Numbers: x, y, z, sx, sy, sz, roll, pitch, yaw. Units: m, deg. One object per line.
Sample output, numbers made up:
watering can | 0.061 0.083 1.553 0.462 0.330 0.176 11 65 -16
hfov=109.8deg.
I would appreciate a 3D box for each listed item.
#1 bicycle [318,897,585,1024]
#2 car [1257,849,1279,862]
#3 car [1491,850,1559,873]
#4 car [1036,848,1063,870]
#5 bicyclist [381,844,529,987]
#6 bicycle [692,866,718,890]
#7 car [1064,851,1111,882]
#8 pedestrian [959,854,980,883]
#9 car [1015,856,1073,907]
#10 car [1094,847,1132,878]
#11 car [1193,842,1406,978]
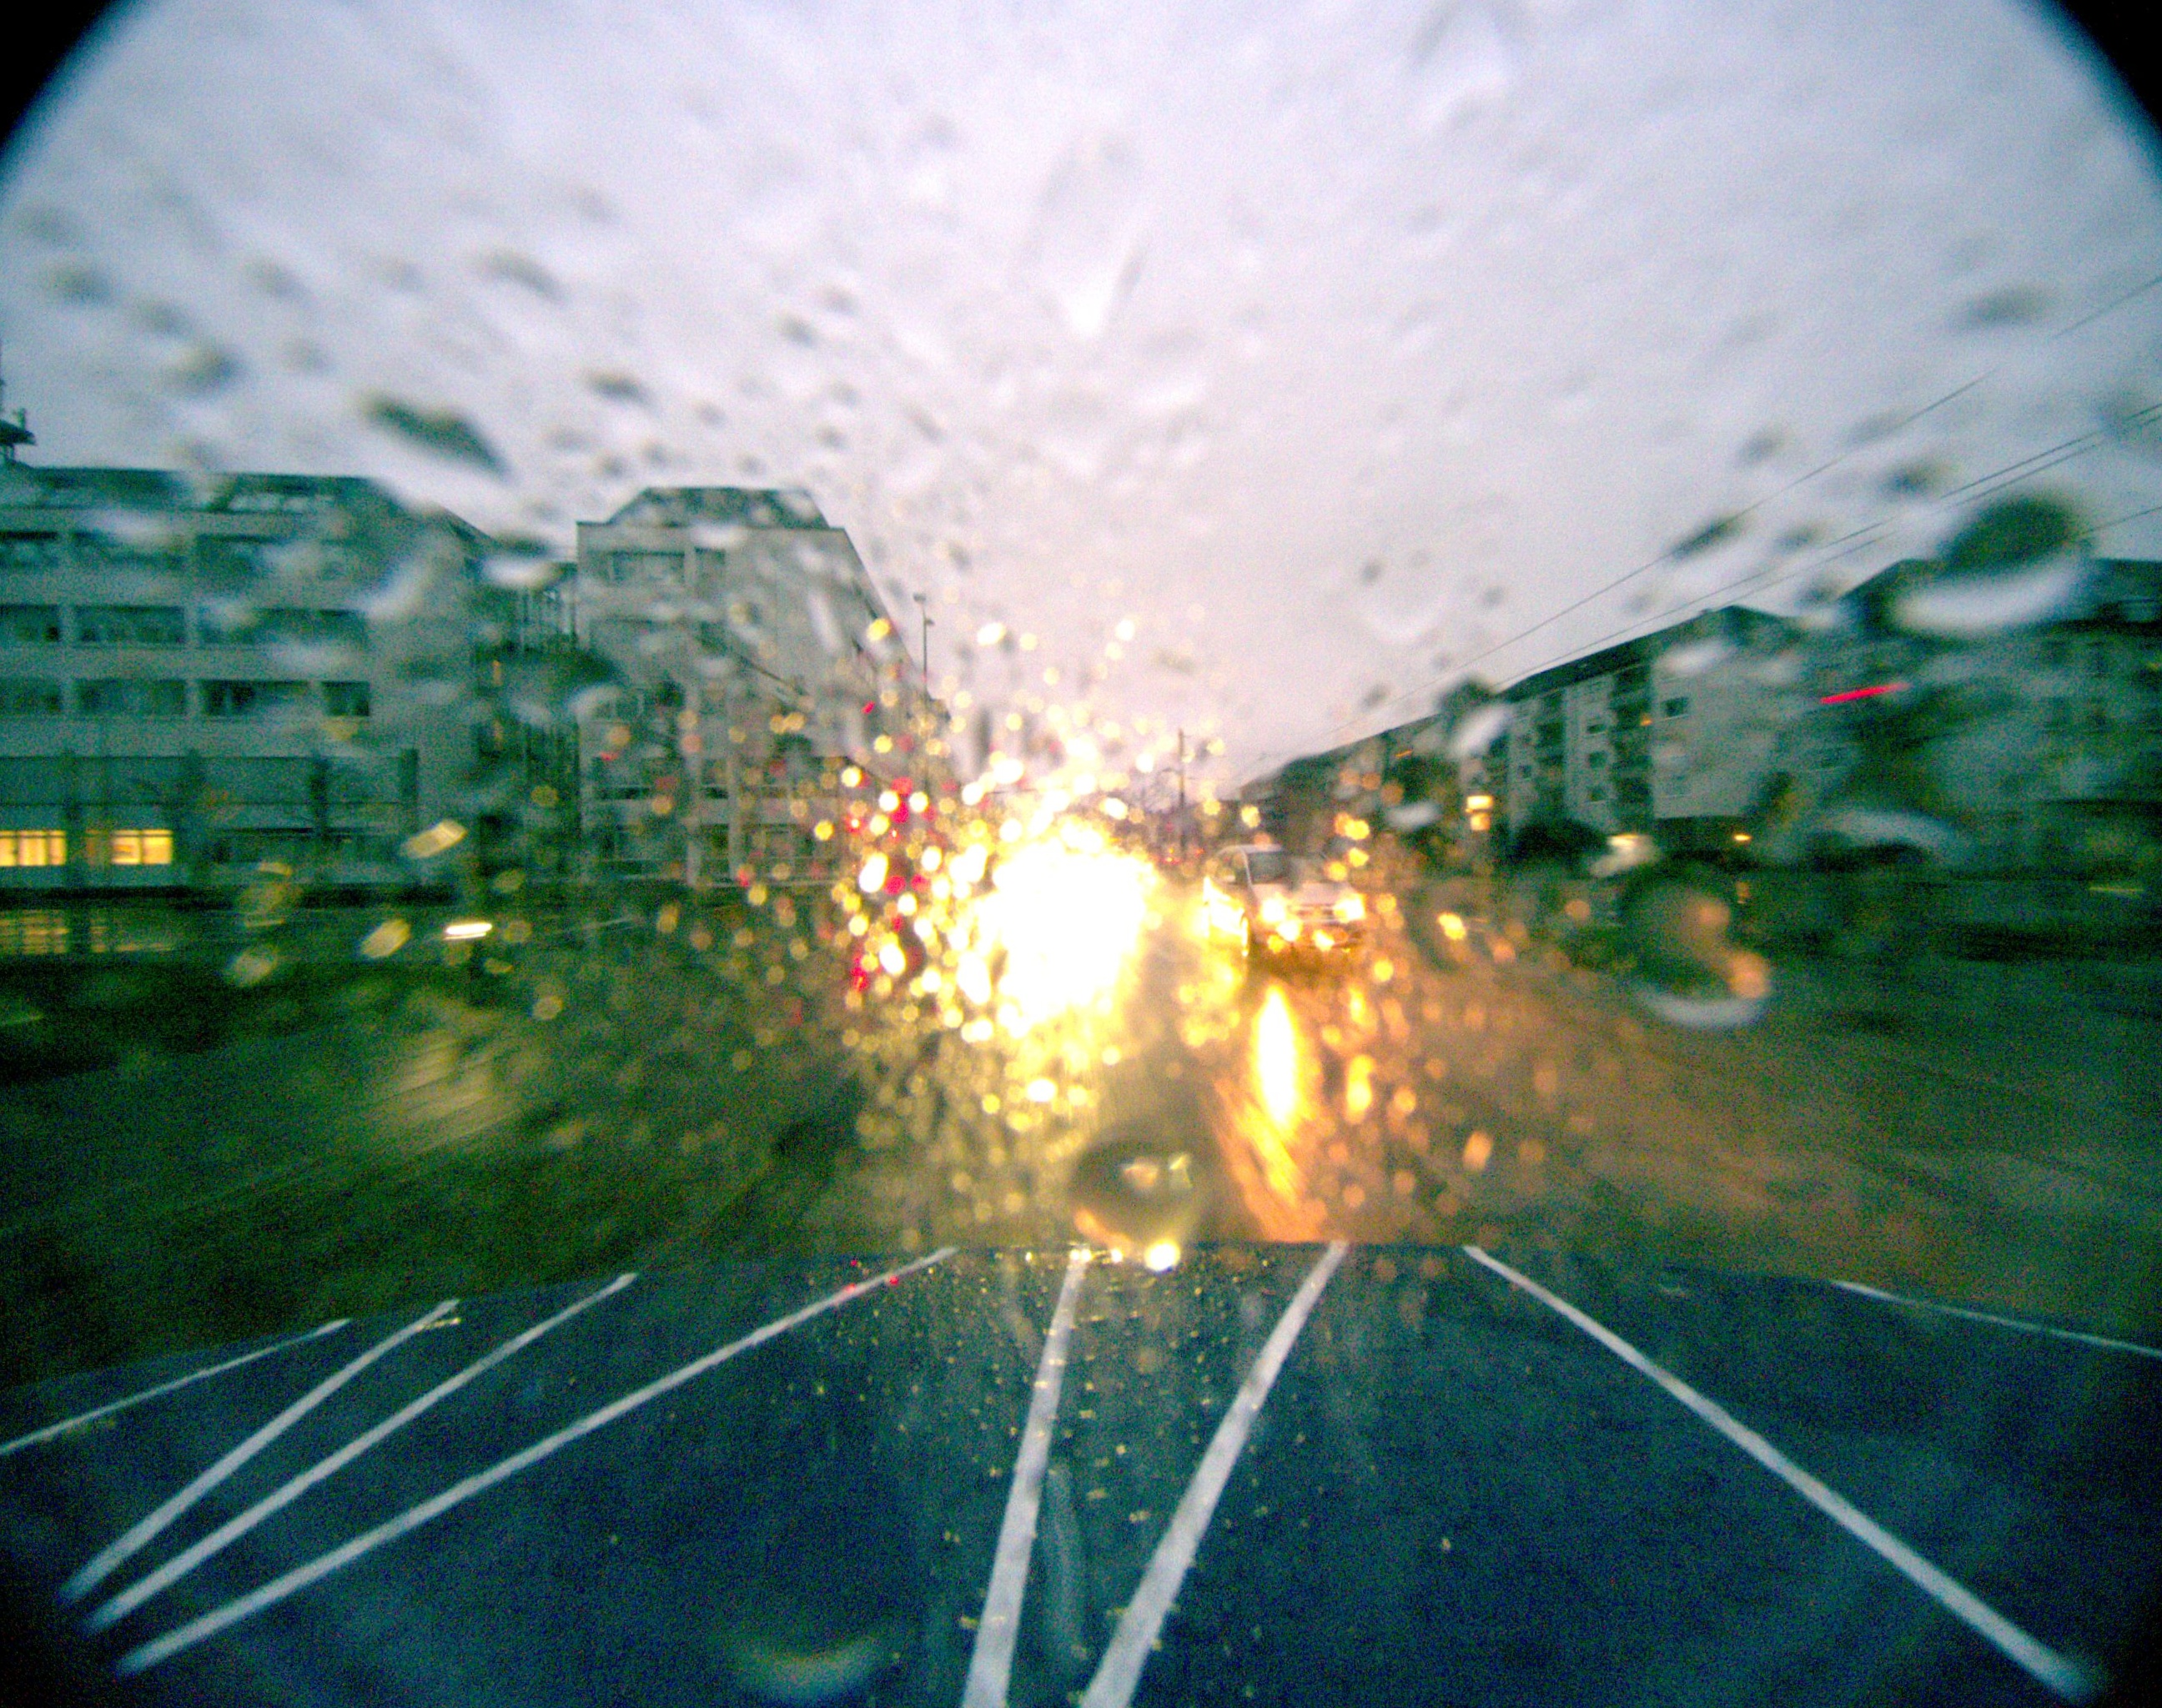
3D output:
bicycle | -6.704 1.098 8.231 1.969 1.208 1.040 0 -1 -8
car | 25.353 0.180 103.202 1.729 1.636 4.148 -2 1 -3
car | 30.117 0.464 51.559 3.810 1.359 1.696 -2 2 -10
car | -2.330 0.335 56.106 1.765 1.520 3.732 -2 1 -5
bicyclist | -6.726 0.620 8.221 0.753 1.422 0.926 -2 2 -2
bicycle | -17.952 1.119 36.309 0.471 1.098 1.874 0 1 -5
car | 0.282 0.615 40.210 1.976 1.492 4.089 -2 0 -6
pedestrian | -6.797 0.896 46.288 0.796 1.740 0.863 3 0 22
car | -1.232 0.865 25.453 1.757 1.418 3.802 -2 1 -3
car | 2.127 0.544 52.069 1.958 2.022 4.880 -2 0 -4
car | 3.120 0.689 11.802 2.021 1.667 3.998 -2 1 -2
